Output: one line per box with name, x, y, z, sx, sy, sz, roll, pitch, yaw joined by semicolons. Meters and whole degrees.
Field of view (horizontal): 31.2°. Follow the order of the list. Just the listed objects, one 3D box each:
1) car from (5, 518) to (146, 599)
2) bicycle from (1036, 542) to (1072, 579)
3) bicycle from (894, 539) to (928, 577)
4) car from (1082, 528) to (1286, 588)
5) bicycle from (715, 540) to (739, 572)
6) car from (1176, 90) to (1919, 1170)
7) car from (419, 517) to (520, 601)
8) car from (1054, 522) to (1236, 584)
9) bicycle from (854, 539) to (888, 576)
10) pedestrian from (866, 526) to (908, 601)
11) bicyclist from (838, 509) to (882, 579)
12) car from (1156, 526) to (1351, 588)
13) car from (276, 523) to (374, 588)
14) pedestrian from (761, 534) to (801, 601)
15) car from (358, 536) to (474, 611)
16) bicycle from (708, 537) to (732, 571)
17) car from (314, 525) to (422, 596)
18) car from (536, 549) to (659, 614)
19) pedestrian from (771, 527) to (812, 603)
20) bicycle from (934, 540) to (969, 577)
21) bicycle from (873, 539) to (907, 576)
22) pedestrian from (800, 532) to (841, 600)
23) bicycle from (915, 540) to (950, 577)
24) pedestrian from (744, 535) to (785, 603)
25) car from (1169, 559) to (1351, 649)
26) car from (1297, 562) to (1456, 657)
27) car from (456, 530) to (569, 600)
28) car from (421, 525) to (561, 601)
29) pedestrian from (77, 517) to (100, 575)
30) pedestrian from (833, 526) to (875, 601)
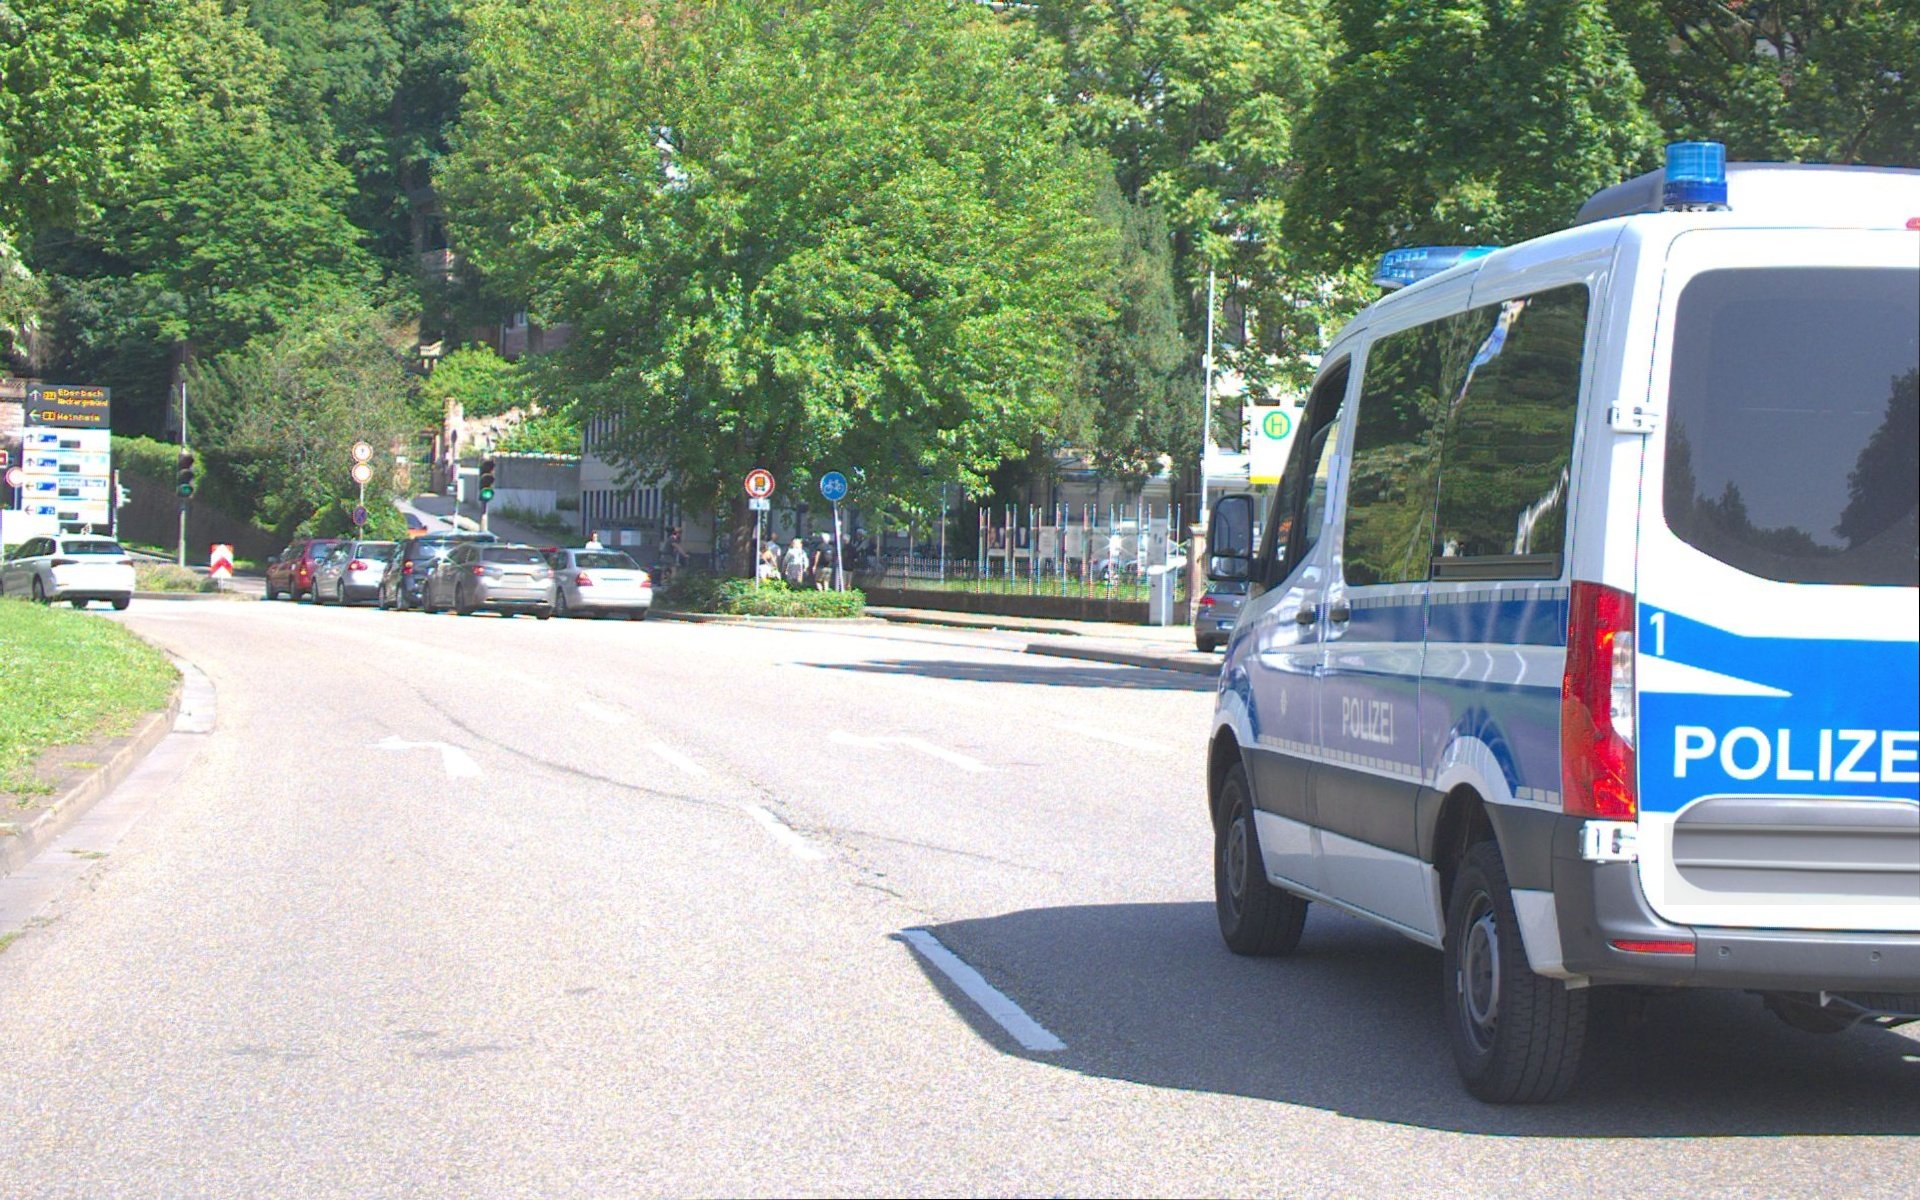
car;-17.184;-0.815;66.711;1.842;1.455;3.494;1;1;-28
bicycle;2.833;-1.212;103.911;0.537;1.081;1.835;1;1;-17
bicycle;-1.467;-1.263;102.897;0.537;1.081;1.835;1;1;-17
car;5.325;-1.006;81.649;4.465;1.331;1.822;1;1;-21
bicycle;-7.082;-1.347;104.589;0.405;0.938;1.342;1;2;-18
car;2.176;0.065;10.558;2.073;2.500;4.930;2;0;-7
car;-11.930;-1.008;83.450;1.755;1.931;3.495;2;1;-19
car;4.659;-1.191;86.474;4.142;1.470;1.878;1;1;-23
bicycle;-2.661;-1.278;102.646;0.537;1.081;1.835;1;1;-17
pedestrian;-1.819;-0.921;85.928;0.771;1.848;0.830;2;1;-20
bicyclist;-2.822;-1.579;96.932;1.126;1.926;0.748;1;1;-6
car;6.774;-0.992;79.448;4.084;1.331;1.822;1;1;-21
car;-15.058;-1.068;81.419;1.755;1.456;3.495;2;1;-19
pedestrian;-4.541;-0.829;87.043;0.771;1.657;0.830;2;1;-18
car;-11.327;-0.567;71.453;1.755;1.456;3.495;2;1;-19
bicycle;-7.438;-1.423;106.576;0.405;1.009;1.342;1;2;-18
car;-13.137;-0.891;76.123;1.755;1.456;3.647;2;1;-19
car;-7.491;-0.401;70.843;1.755;1.209;3.495;2;1;-19
pedestrian;-4.161;-0.876;85.038;0.771;1.848;0.830;2;1;-17
bicycle;-0.254;-1.250;103.295;0.537;1.081;1.835;1;1;-17
bicycle;-2.093;-1.272;102.824;0.537;1.081;1.835;1;1;-17
pedestrian;-3.469;-0.857;85.535;0.771;1.657;0.830;2;1;-17
bicycle;-0.820;-1.256;103.103;0.537;1.081;1.835;1;1;-17
pedestrian;-4.885;-0.786;85.836;0.771;1.657;0.830;2;1;-18
car;5.305;0.062;60.277;1.824;1.456;4.102;2;1;25
car;7.079;0.146;58.198;1.710;1.506;3.807;2;1;22
car;-9.947;-0.789;76.266;1.755;1.456;3.647;2;1;-19
car;-9.015;-0.727;65.824;1.755;1.329;3.803;1;1;-22
pedestrian;-24.578;-1.538;96.938;0.546;1.615;0.634;1;1;-9
pedestrian;-2.652;-0.909;85.732;0.771;1.848;0.830;2;1;-20
